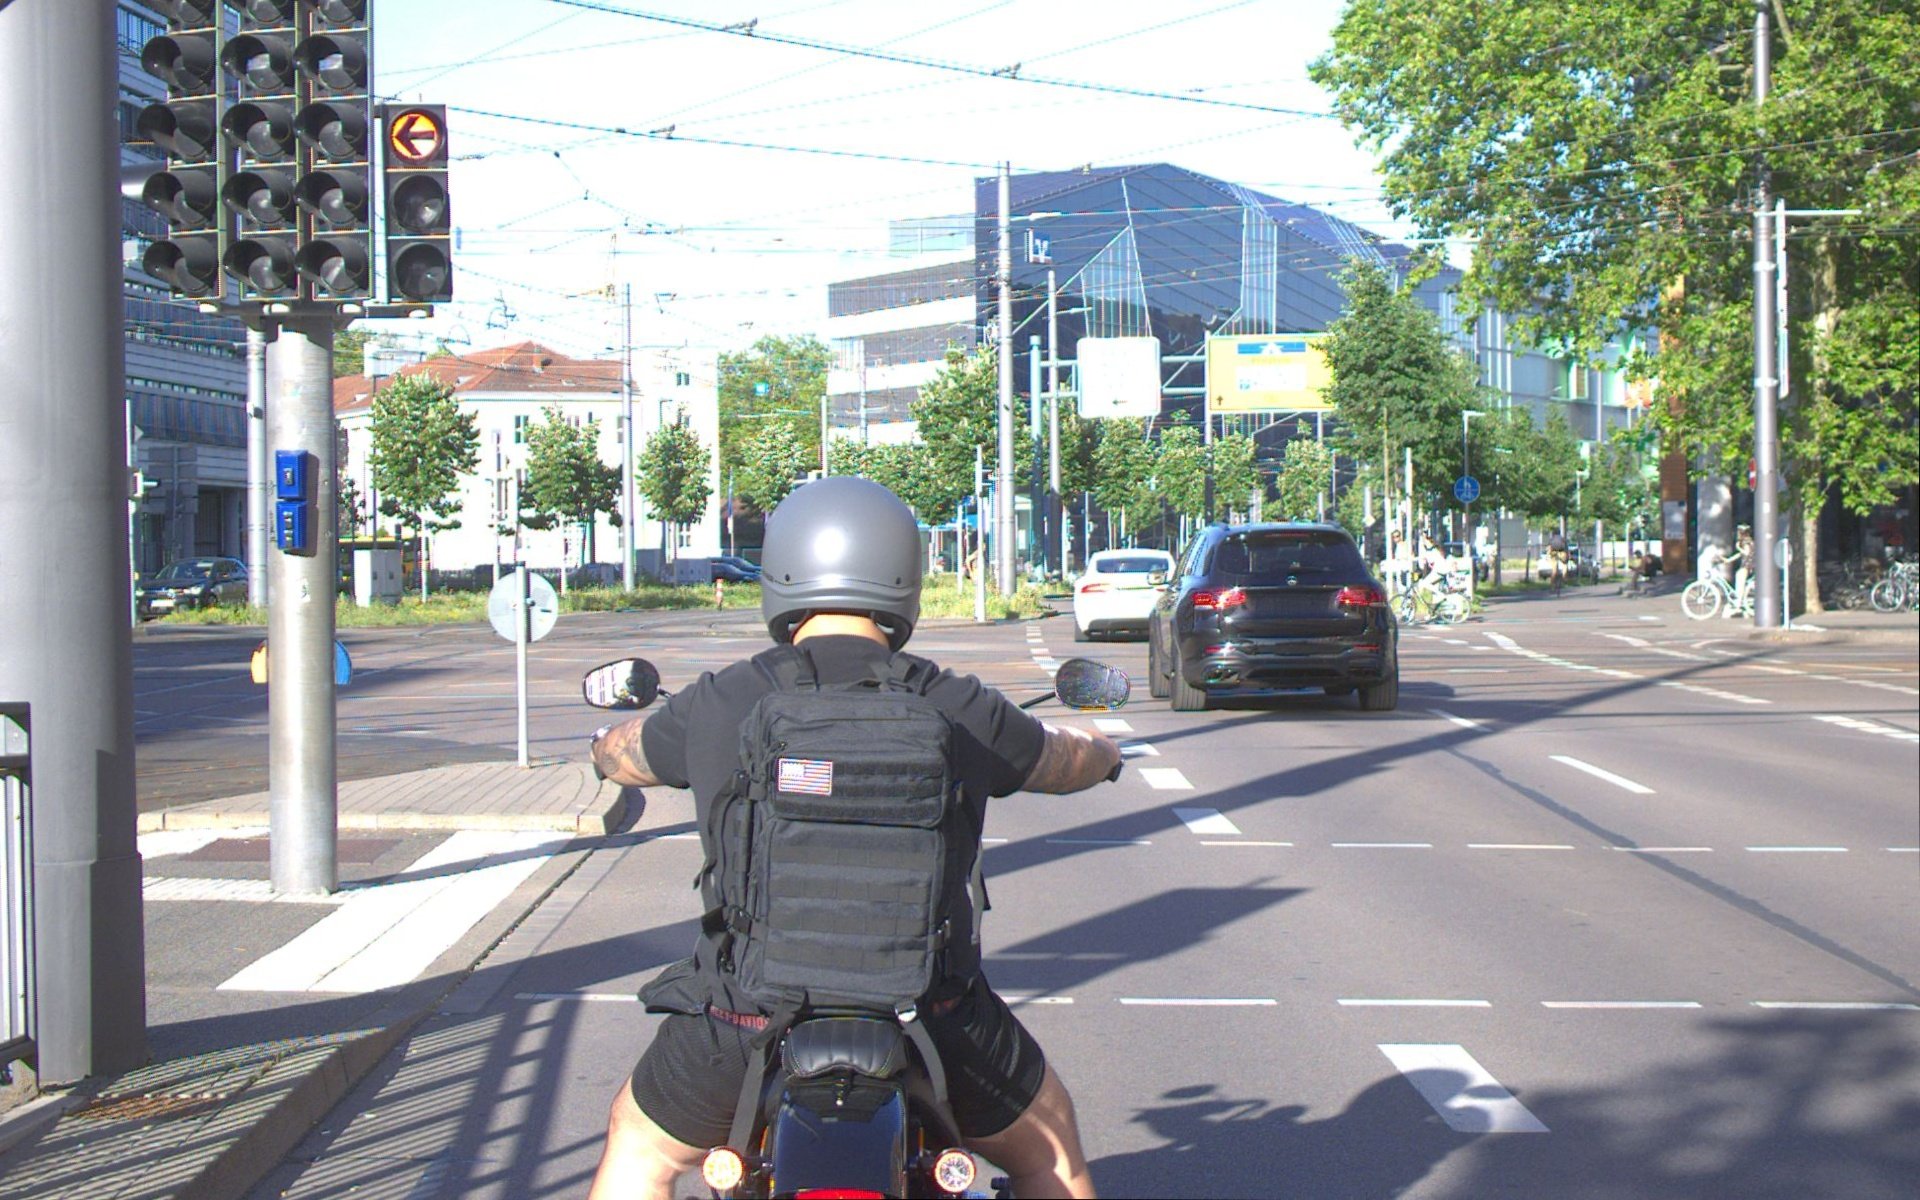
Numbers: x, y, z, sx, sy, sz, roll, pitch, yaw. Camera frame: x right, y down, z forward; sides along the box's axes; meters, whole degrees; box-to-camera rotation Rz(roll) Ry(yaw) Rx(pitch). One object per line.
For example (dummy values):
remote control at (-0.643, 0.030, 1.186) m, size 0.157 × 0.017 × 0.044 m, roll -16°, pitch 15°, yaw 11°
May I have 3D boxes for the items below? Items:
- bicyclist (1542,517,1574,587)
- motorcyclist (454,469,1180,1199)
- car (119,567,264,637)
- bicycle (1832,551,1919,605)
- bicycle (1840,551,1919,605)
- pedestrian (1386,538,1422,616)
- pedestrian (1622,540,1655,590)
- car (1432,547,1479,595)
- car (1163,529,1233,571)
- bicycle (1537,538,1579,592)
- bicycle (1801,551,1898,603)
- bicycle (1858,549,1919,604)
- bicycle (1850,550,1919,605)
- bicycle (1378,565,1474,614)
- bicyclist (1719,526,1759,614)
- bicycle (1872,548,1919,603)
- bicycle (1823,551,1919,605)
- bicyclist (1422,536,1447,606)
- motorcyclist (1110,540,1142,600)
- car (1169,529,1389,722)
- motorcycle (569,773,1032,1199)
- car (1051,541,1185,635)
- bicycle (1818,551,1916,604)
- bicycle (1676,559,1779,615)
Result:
bicyclist at (15.548, -1.239, 89.386) m, size 0.697 × 1.802 × 0.728 m, roll 1°, pitch 0°, yaw 4°
motorcyclist at (-0.207, 0.601, 5.355) m, size 1.030 × 1.588 × 0.873 m, roll 0°, pitch 1°, yaw -1°
car at (-17.550, 0.041, 78.710) m, size 1.750 × 1.519 × 3.998 m, roll 1°, pitch 0°, yaw 11°
bicycle at (18.374, -0.432, 68.514) m, size 1.880 × 1.043 × 0.360 m, roll 1°, pitch 0°, yaw -1°
bicycle at (18.364, -0.429, 67.881) m, size 1.880 × 1.043 × 0.360 m, roll 1°, pitch 1°, yaw -1°
pedestrian at (8.875, -0.458, 68.711) m, size 0.587 × 1.551 × 0.489 m, roll 1°, pitch 0°, yaw -8°
pedestrian at (17.883, -0.912, 90.607) m, size 0.819 × 1.309 × 0.637 m, roll 1°, pitch 0°, yaw 9°
car at (19.453, -1.144, 134.869) m, size 1.531 × 1.831 × 3.573 m, roll 1°, pitch 0°, yaw 12°
car at (8.198, -1.732, 118.077) m, size 1.804 × 1.425 × 4.451 m, roll 0°, pitch 1°, yaw 12°
bicycle at (15.546, -0.897, 89.416) m, size 0.726 × 1.362 × 2.917 m, roll 1°, pitch 0°, yaw 3°
bicycle at (18.280, -0.472, 70.650) m, size 1.880 × 1.043 × 0.360 m, roll 1°, pitch 1°, yaw -1°
bicycle at (18.363, -0.447, 66.509) m, size 1.880 × 1.043 × 0.360 m, roll 1°, pitch 0°, yaw -1°
bicycle at (18.429, -0.437, 67.325) m, size 1.880 × 1.043 × 0.360 m, roll 1°, pitch 0°, yaw -1°
bicycle at (9.087, -0.210, 67.074) m, size 1.825 × 0.922 × 0.358 m, roll 1°, pitch 0°, yaw -8°
bicyclist at (14.766, -0.563, 65.159) m, size 0.688 × 1.667 × 0.540 m, roll 0°, pitch 0°, yaw 19°
bicycle at (18.425, -0.454, 65.728) m, size 1.880 × 1.043 × 0.360 m, roll 1°, pitch 0°, yaw -1°
bicycle at (18.317, -0.448, 68.998) m, size 1.880 × 1.043 × 0.360 m, roll 1°, pitch 1°, yaw -1°
bicyclist at (9.266, -0.566, 67.102) m, size 0.380 × 1.368 × 0.345 m, roll 1°, pitch 0°, yaw -9°
motorcyclist at (4.406, -0.799, 91.125) m, size 0.796 × 1.574 × 0.529 m, roll 1°, pitch 0°, yaw 5°
car at (2.891, 0.171, 30.578) m, size 1.804 × 1.590 × 4.452 m, roll 0°, pitch 1°, yaw 7°
motorcycle at (-0.226, 0.883, 5.620) m, size 0.600 × 1.032 × 2.234 m, roll 1°, pitch 1°, yaw -1°
car at (2.488, -0.227, 54.981) m, size 1.803 × 1.425 × 4.453 m, roll 0°, pitch 1°, yaw -2°
bicycle at (18.335, -0.457, 69.499) m, size 1.880 × 1.043 × 0.360 m, roll 1°, pitch 1°, yaw -1°
bicycle at (14.567, -0.248, 65.241) m, size 1.872 × 1.040 × 0.536 m, roll 0°, pitch 0°, yaw 19°
